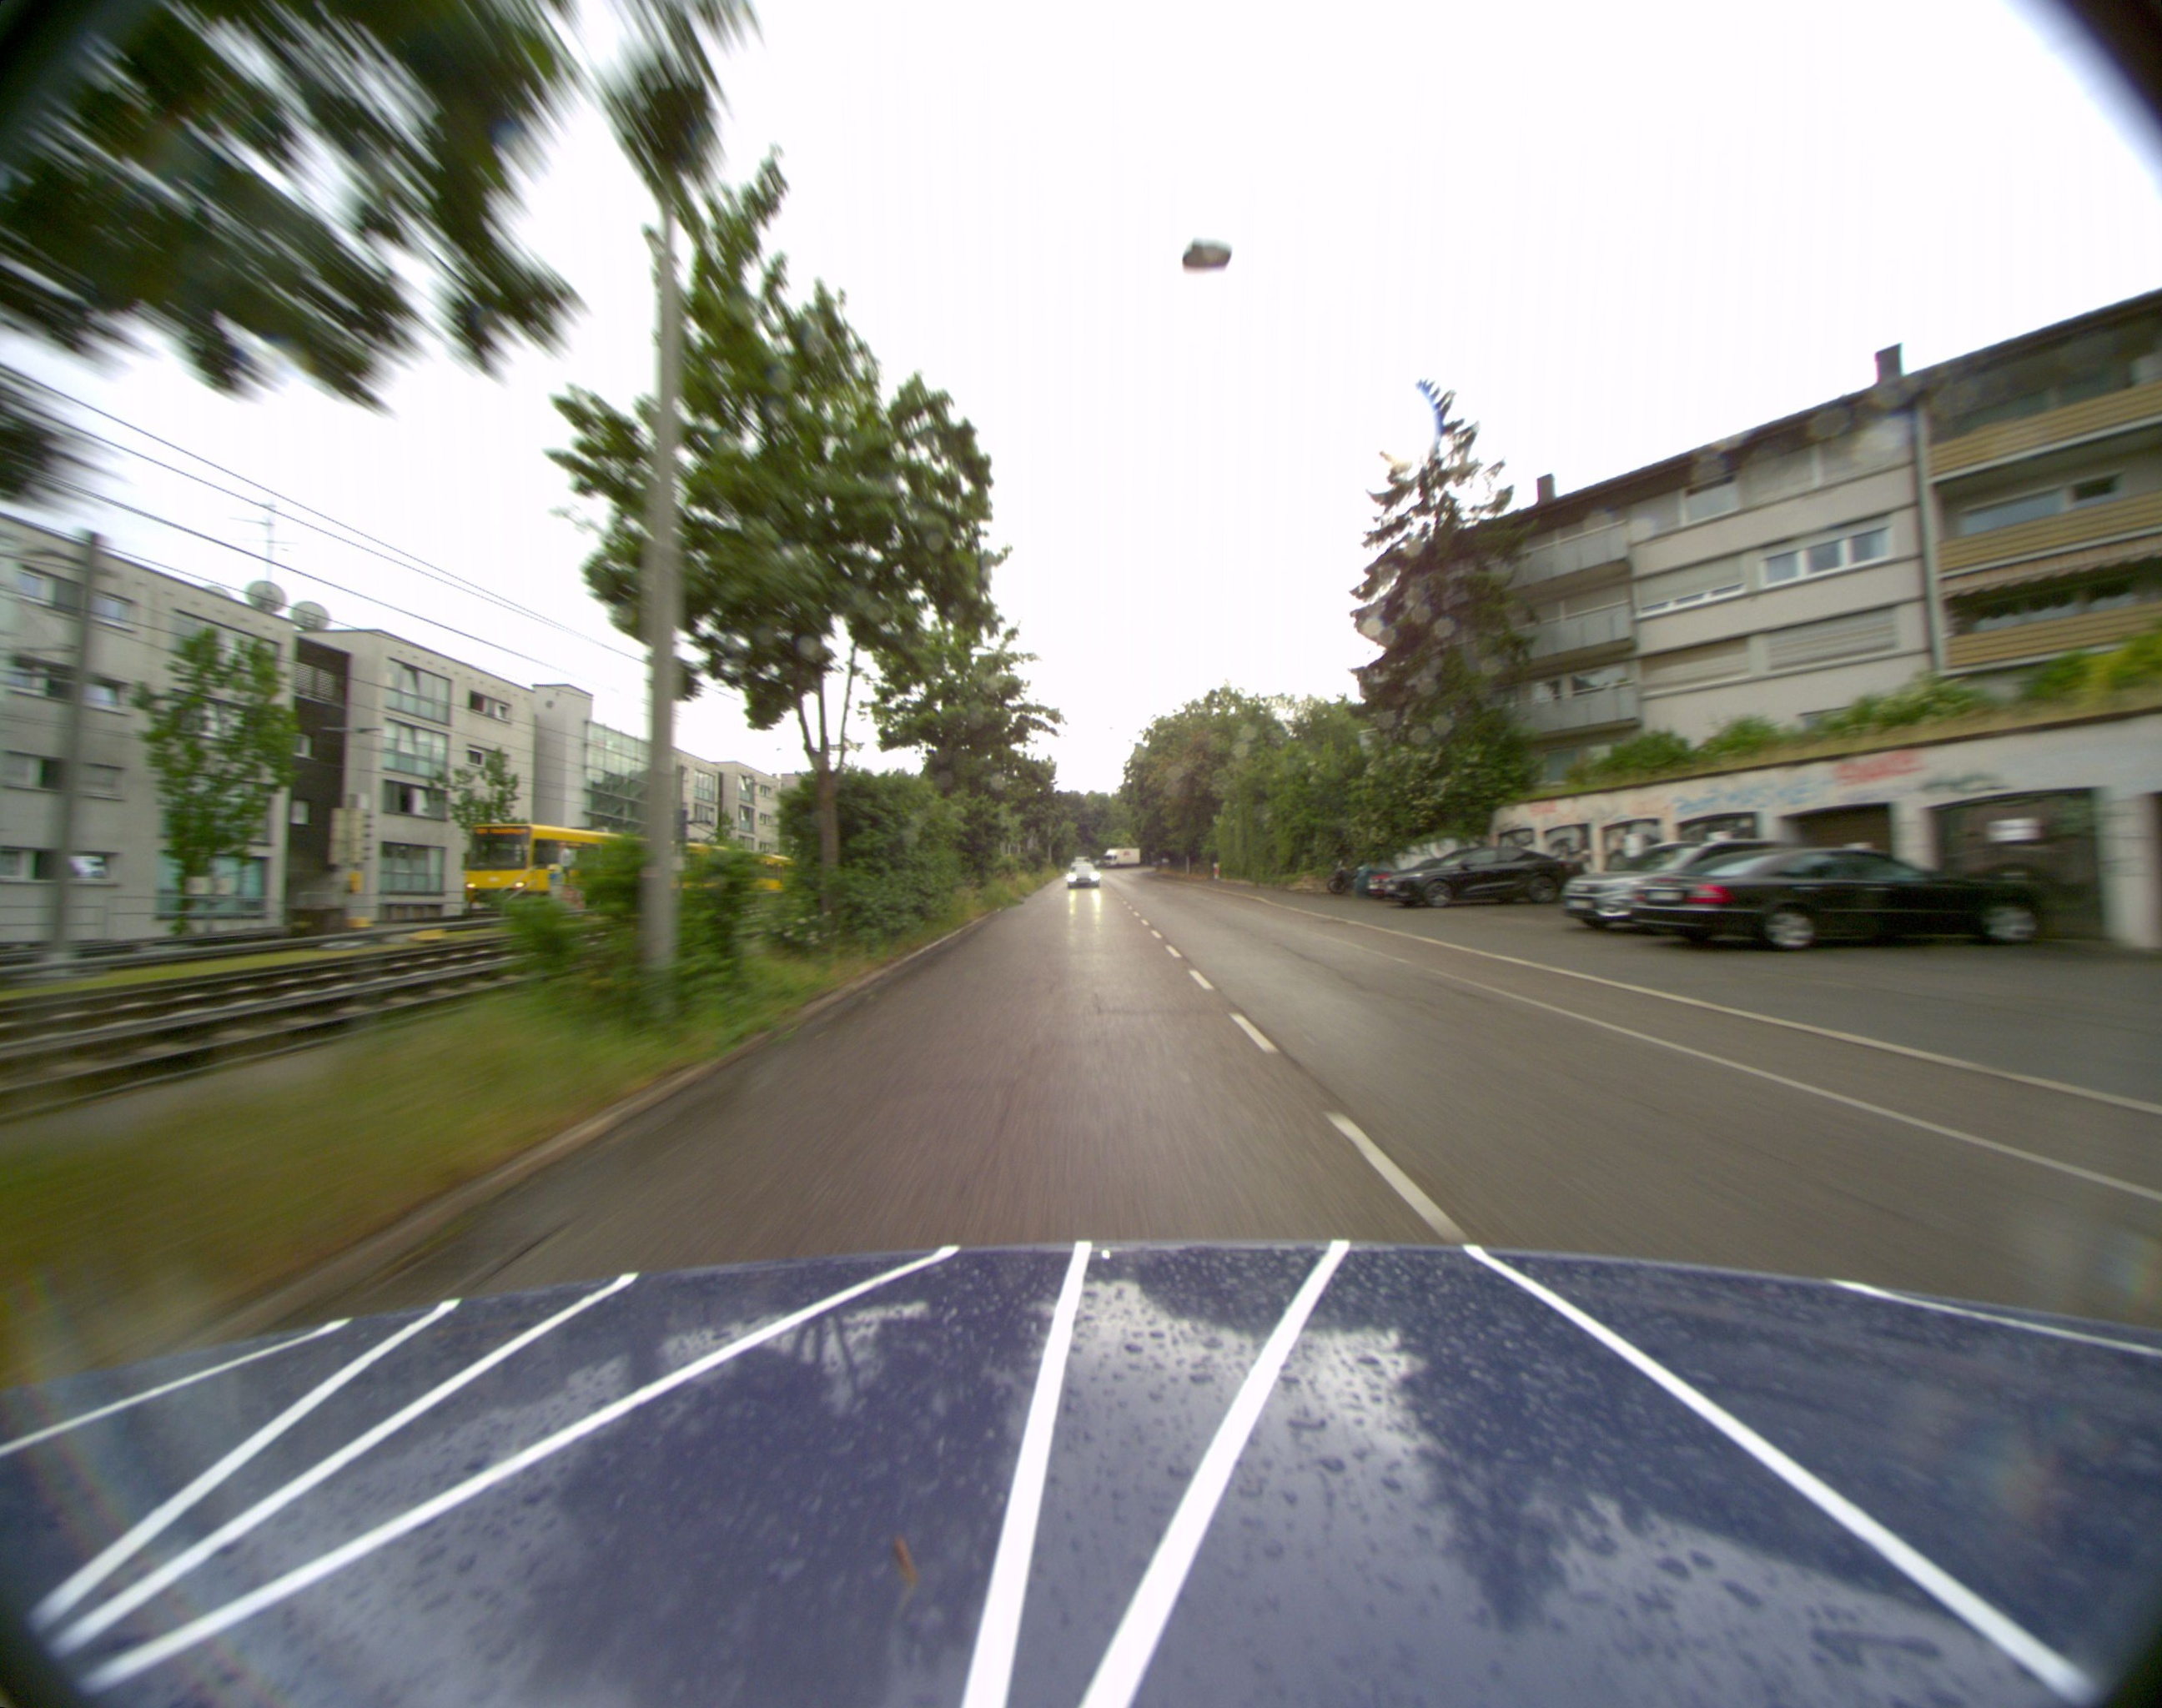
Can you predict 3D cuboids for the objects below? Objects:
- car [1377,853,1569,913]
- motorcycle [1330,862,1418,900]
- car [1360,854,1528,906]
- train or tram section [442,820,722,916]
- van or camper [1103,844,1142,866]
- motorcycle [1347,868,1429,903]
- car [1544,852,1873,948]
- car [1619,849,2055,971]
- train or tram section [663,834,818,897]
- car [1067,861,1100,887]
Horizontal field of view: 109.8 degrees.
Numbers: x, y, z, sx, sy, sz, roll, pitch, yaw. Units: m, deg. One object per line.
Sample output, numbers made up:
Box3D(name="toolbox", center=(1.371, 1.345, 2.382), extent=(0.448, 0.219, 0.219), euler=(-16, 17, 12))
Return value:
Box3D(name="car", center=(10.833, 0.781, 21.238), extent=(4.439, 1.519, 1.775), euler=(-1, 0, 1))
Box3D(name="motorcycle", center=(10.442, 0.953, 27.254), extent=(2.806, 1.265, 1.280), euler=(-2, 1, 16))
Box3D(name="car", center=(11.372, 0.805, 24.016), extent=(4.439, 1.519, 1.775), euler=(-1, 0, 1))
Box3D(name="train or tram section", center=(-22.009, 0.574, 35.525), extent=(3.204, 3.540, 14.504), euler=(-1, 0, 1))
Box3D(name="van or camper", center=(7.465, 0.157, 134.862), extent=(2.882, 3.914, 8.160), euler=(-1, 0, 37))
Box3D(name="motorcycle", center=(10.280, 1.060, 25.492), extent=(2.459, 1.102, 0.661), euler=(-1, 0, 8))
Box3D(name="car", center=(11.034, 0.776, 13.579), extent=(4.440, 1.519, 1.774), euler=(-1, 0, -1))
Box3D(name="car", center=(10.863, 0.756, 11.204), extent=(4.496, 1.481, 1.848), euler=(-2, 0, 2))
Box3D(name="train or tram section", center=(-21.690, 0.678, 50.073), extent=(3.114, 3.477, 14.859), euler=(-1, 0, 1))
Box3D(name="car", center=(0.166, 1.228, 47.060), extent=(1.861, 1.469, 4.001), euler=(-4, -1, 1))
